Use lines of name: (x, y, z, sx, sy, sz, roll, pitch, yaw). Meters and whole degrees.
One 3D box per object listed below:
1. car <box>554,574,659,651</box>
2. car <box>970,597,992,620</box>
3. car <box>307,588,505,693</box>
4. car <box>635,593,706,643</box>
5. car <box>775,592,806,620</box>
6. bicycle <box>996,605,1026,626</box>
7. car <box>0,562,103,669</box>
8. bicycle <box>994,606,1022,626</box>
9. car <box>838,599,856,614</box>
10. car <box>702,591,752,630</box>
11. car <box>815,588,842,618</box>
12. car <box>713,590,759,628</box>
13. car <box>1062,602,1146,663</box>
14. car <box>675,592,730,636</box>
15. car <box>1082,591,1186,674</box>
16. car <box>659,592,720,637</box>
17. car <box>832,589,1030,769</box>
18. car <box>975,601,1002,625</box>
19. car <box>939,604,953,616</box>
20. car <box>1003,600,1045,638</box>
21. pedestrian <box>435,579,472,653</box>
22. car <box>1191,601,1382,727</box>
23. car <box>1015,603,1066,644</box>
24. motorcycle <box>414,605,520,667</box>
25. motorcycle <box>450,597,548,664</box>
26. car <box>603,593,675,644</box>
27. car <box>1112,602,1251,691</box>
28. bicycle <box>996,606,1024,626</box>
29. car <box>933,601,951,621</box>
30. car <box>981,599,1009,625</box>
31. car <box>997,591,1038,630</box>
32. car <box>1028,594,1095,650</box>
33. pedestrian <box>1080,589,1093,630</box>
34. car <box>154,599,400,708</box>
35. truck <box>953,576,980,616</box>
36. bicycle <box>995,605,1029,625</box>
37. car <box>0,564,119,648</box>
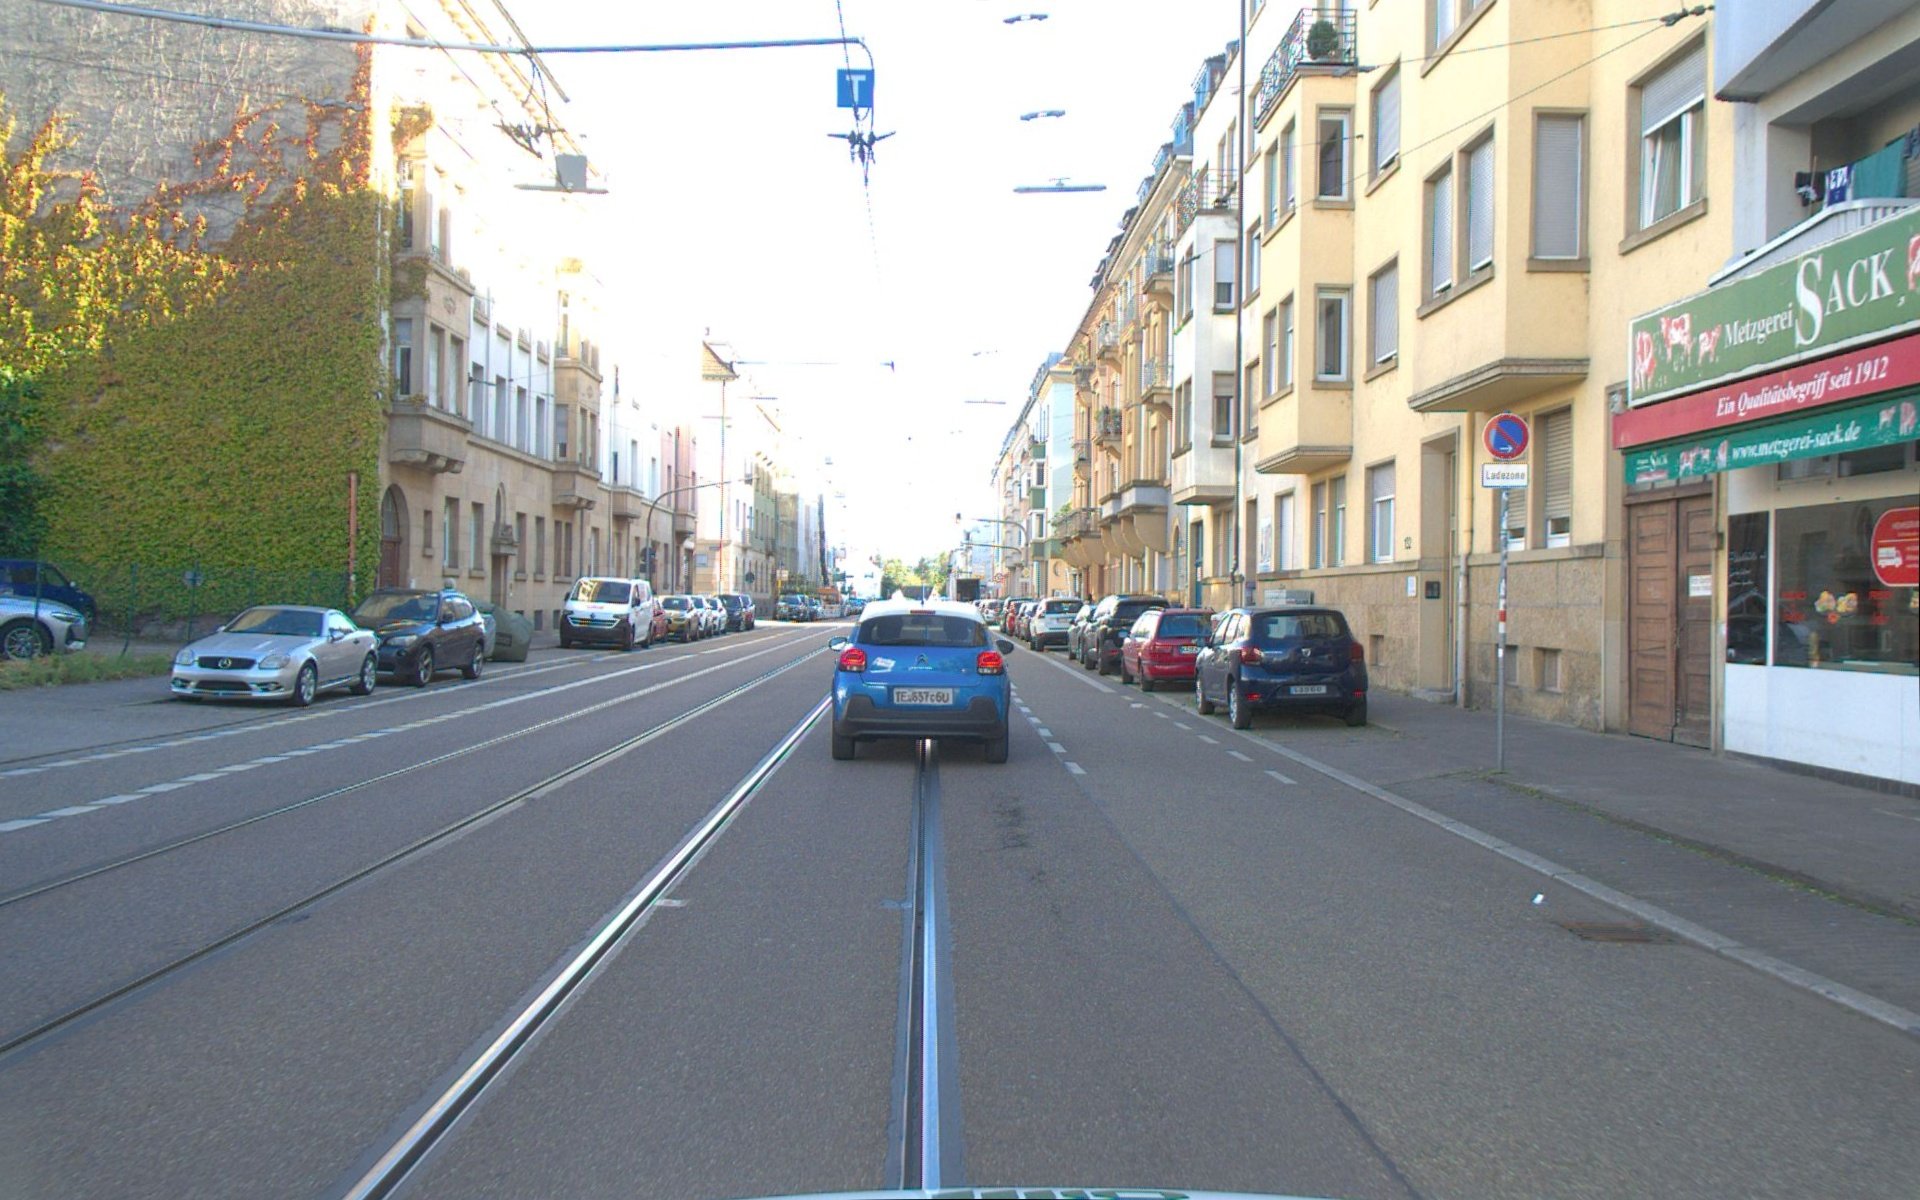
car: (-9.900, 0.330, 46.772, 1.933, 1.983, 5.249, 3, 0, -2)
car: (1.732, 0.703, 137.421, 1.695, 1.859, 4.685, 0, 0, -1)
car: (-9.446, 0.649, 28.604, 1.746, 1.592, 4.610, 3, 0, 1)
car: (-9.928, 0.594, 56.921, 1.747, 1.550, 4.358, 3, 0, -2)
car: (-11.082, 0.402, 108.223, 1.748, 1.720, 4.665, 3, 0, -3)
bicycle: (3.119, 0.933, 101.207, 1.805, 1.174, 0.469, -3, 0, -1)
car: (-15.233, 0.199, 24.036, 4.740, 1.544, 1.976, 1, 0, -35)
bicycle: (3.042, 1.021, 105.122, 1.688, 1.174, 0.469, -3, 0, -1)
car: (-12.891, 0.779, 189.395, 1.789, 1.660, 4.847, 0, 0, -1)
car: (-10.282, 0.458, 73.157, 1.747, 1.580, 3.018, 3, 0, -1)
car: (-11.339, 0.249, 142.698, 2.102, 2.518, 4.977, 3, 0, -3)
car: (-10.454, 0.396, 77.415, 1.748, 1.634, 4.394, 3, 0, -3)
car: (3.688, 0.807, 42.912, 1.702, 1.467, 4.031, 1, 0, -2)
car: (-10.506, 0.562, 67.628, 1.748, 1.650, 4.177, 3, 0, -3)
car: (3.764, 0.670, 36.513, 1.821, 1.695, 4.561, 1, 0, 0)
car: (-10.145, 0.519, 62.258, 1.736, 1.574, 4.363, 3, 0, -3)
car: (-0.284, 0.705, 16.732, 1.700, 1.533, 3.991, 3, 0, -1)
car: (1.953, 0.872, 113.827, 1.747, 1.603, 4.325, 0, 0, -1)
car: (-1.819, 1.308, 212.321, 1.729, 1.513, 4.030, 0, 0, -1)
car: (2.867, 0.837, 74.640, 1.717, 1.622, 3.729, 1, 0, 0)
pedestrian: (-12.148, 0.384, 39.648, 0.666, 1.754, 0.616, 1, 0, -1)
car: (4.228, 0.775, 22.012, 1.683, 1.517, 4.001, 0, 0, -1)
car: (3.138, 0.897, 65.100, 1.621, 1.509, 4.472, 1, 0, -2)
motorcycle: (-9.962, 0.724, 33.517, 0.725, 1.191, 2.176, 1, 0, 28)
motorcycle: (-9.847, 0.644, 35.379, 0.867, 1.375, 1.953, 1, 0, 31)
car: (-10.158, 0.562, 52.489, 1.570, 1.498, 3.645, 3, 0, -1)
car: (3.974, 0.800, 30.420, 1.821, 1.481, 4.708, 1, 0, -1)
bicycle: (3.087, 1.008, 102.991, 1.688, 1.174, 0.469, -3, 0, -1)
car: (-1.829, 1.116, 169.613, 1.784, 1.927, 3.999, 1, 0, -1)
car: (2.274, 0.778, 108.398, 1.747, 1.660, 3.999, 0, 0, -1)
car: (2.811, 0.514, 81.312, 1.718, 1.766, 4.506, -2, 0, -1)
car: (3.215, 0.691, 53.368, 1.805, 1.720, 4.504, 1, 0, -1)
pedestrian: (5.315, 0.413, 69.367, 0.502, 1.716, 0.447, 1, 0, -2)
car: (-9.544, 0.694, 23.502, 1.747, 1.337, 4.220, 3, 0, -1)
truck: (0.670, -0.374, 178.920, 2.795, 4.154, 11.270, 0, 0, 0)
bicycle: (3.152, 0.914, 100.483, 2.044, 1.174, 0.848, -2, 0, -1)
car: (-18.519, 0.090, 32.778, 1.717, 1.552, 3.908, 1, 0, -1)
